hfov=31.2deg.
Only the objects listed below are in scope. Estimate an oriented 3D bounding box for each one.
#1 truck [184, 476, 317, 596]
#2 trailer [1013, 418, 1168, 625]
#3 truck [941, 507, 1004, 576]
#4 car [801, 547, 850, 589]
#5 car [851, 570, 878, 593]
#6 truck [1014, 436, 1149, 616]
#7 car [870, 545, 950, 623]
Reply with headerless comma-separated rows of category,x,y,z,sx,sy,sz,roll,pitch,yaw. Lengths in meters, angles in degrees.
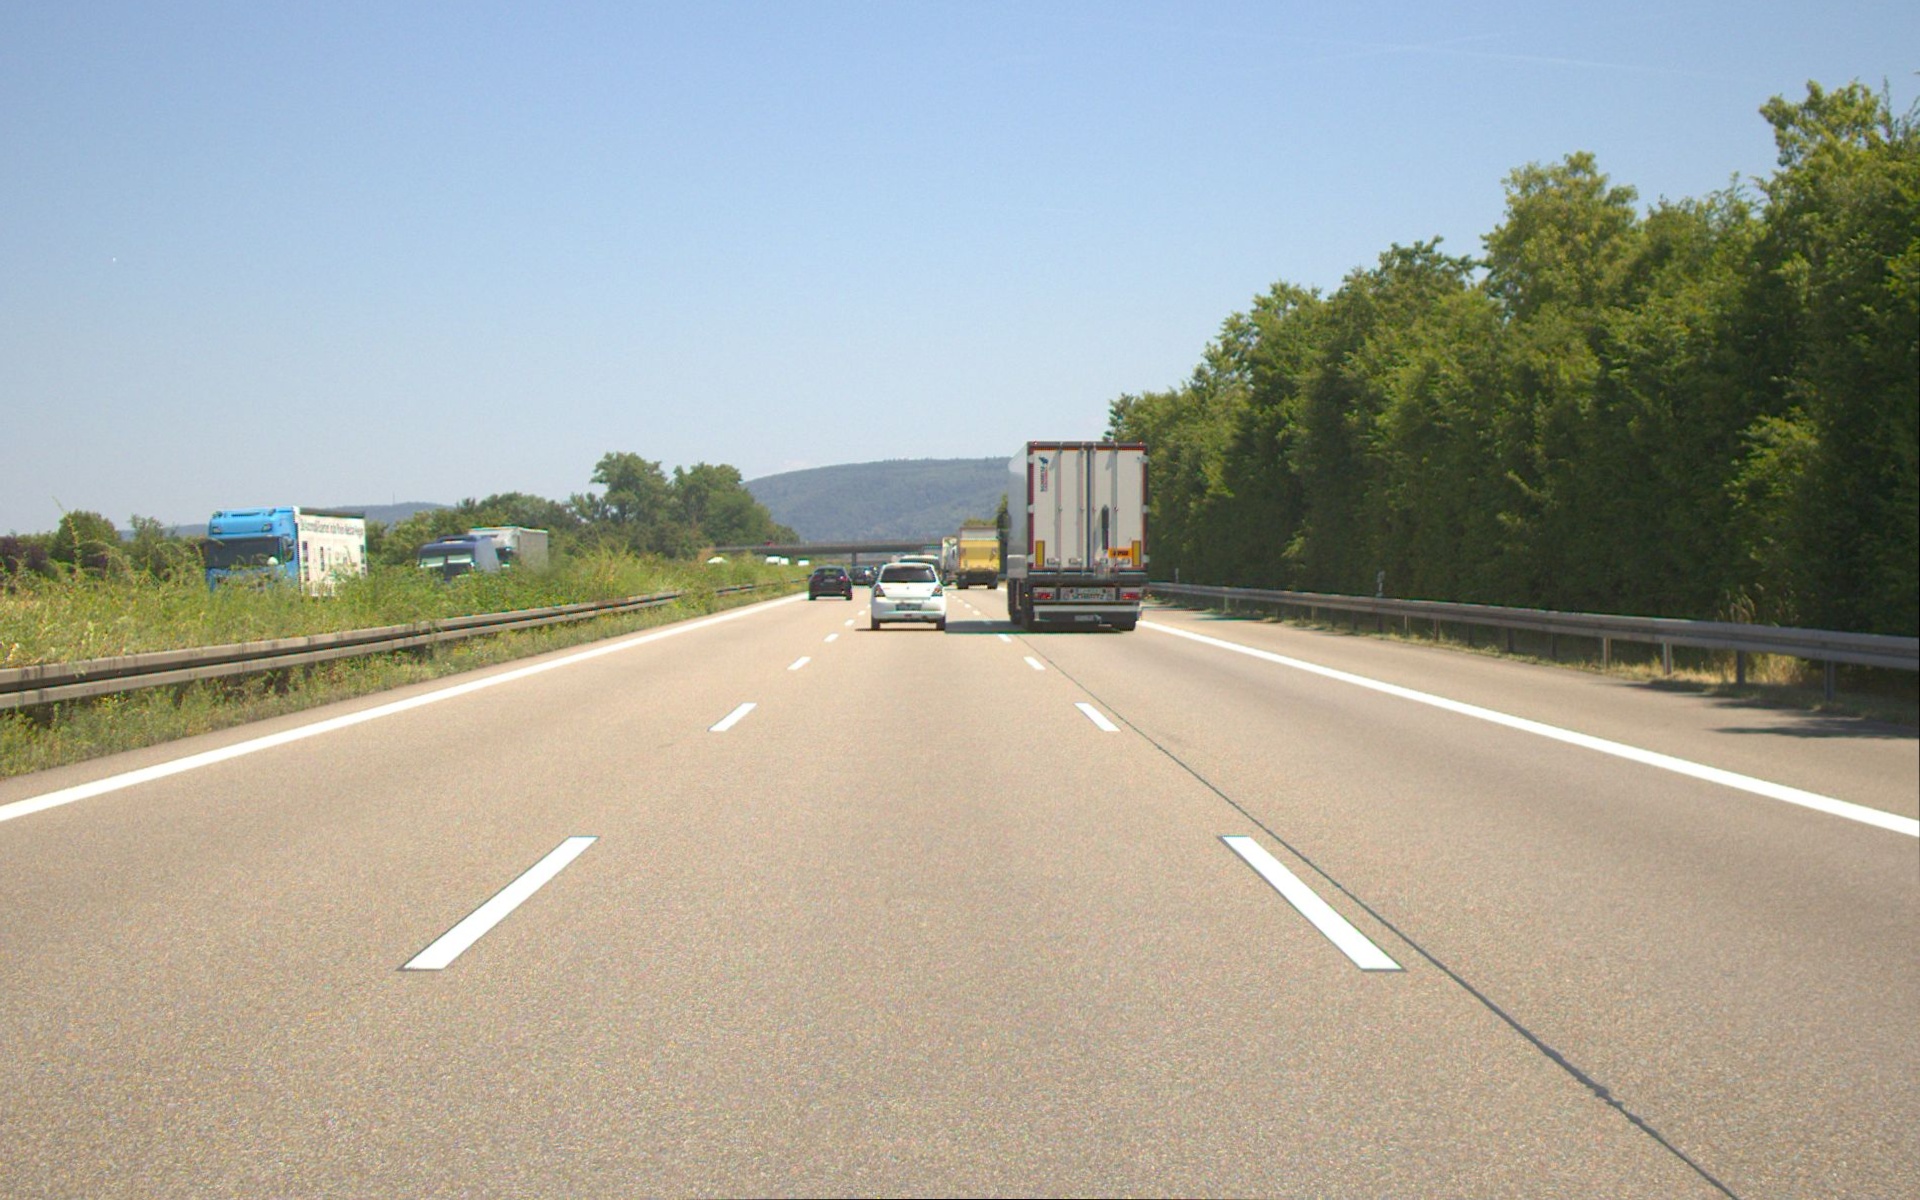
truck,-22.398,-2.014,108.773,3.110,3.686,5.198,1,1,0
trailer,2.878,-1.747,79.278,3.218,4.330,13.629,1,1,1
truck,0.766,-3.796,224.807,3.871,4.330,13.861,1,1,-1
car,-5.635,-1.351,144.745,1.993,1.706,4.000,1,1,-1
car,-6.559,-1.276,236.844,1.795,1.545,4.000,0,0,-1
truck,3.010,-1.846,86.659,3.218,4.330,6.590,1,1,1
car,-1.156,-0.381,77.782,1.732,1.678,4.000,-1,1,-1
